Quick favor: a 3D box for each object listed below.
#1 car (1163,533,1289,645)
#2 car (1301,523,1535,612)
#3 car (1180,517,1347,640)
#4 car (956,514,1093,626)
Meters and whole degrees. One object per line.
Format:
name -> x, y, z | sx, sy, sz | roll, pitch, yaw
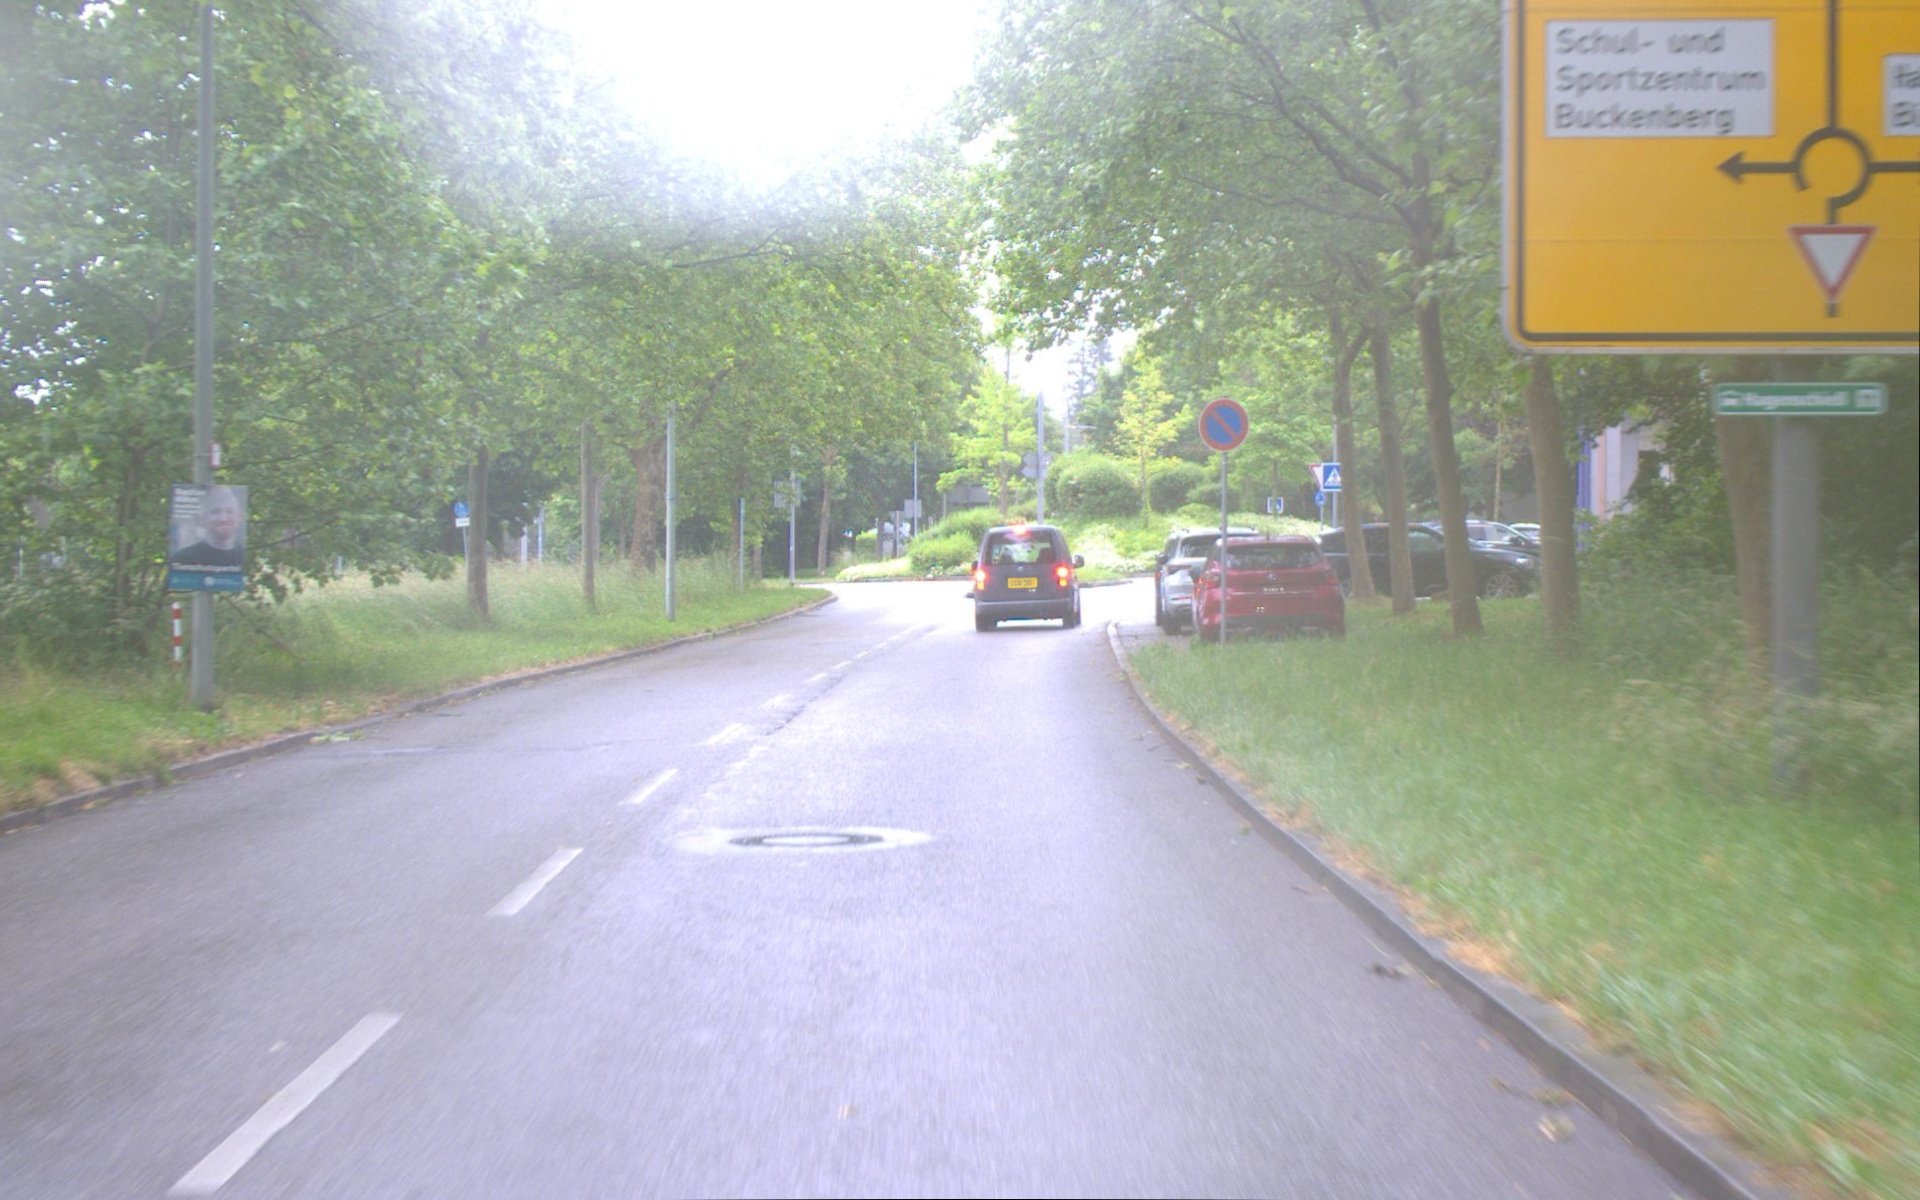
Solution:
car -> 4.060, -0.198, 52.911 | 1.728, 1.586, 4.253 | -2, 1, 2
car -> 8.965, -0.650, 67.571 | 4.471, 1.674, 1.767 | 0, 2, 4
car -> 3.629, -0.281, 41.634 | 1.797, 1.367, 3.744 | -2, 1, 2
car -> 1.183, -0.560, 61.370 | 1.919, 1.795, 3.789 | -4, 1, 8
